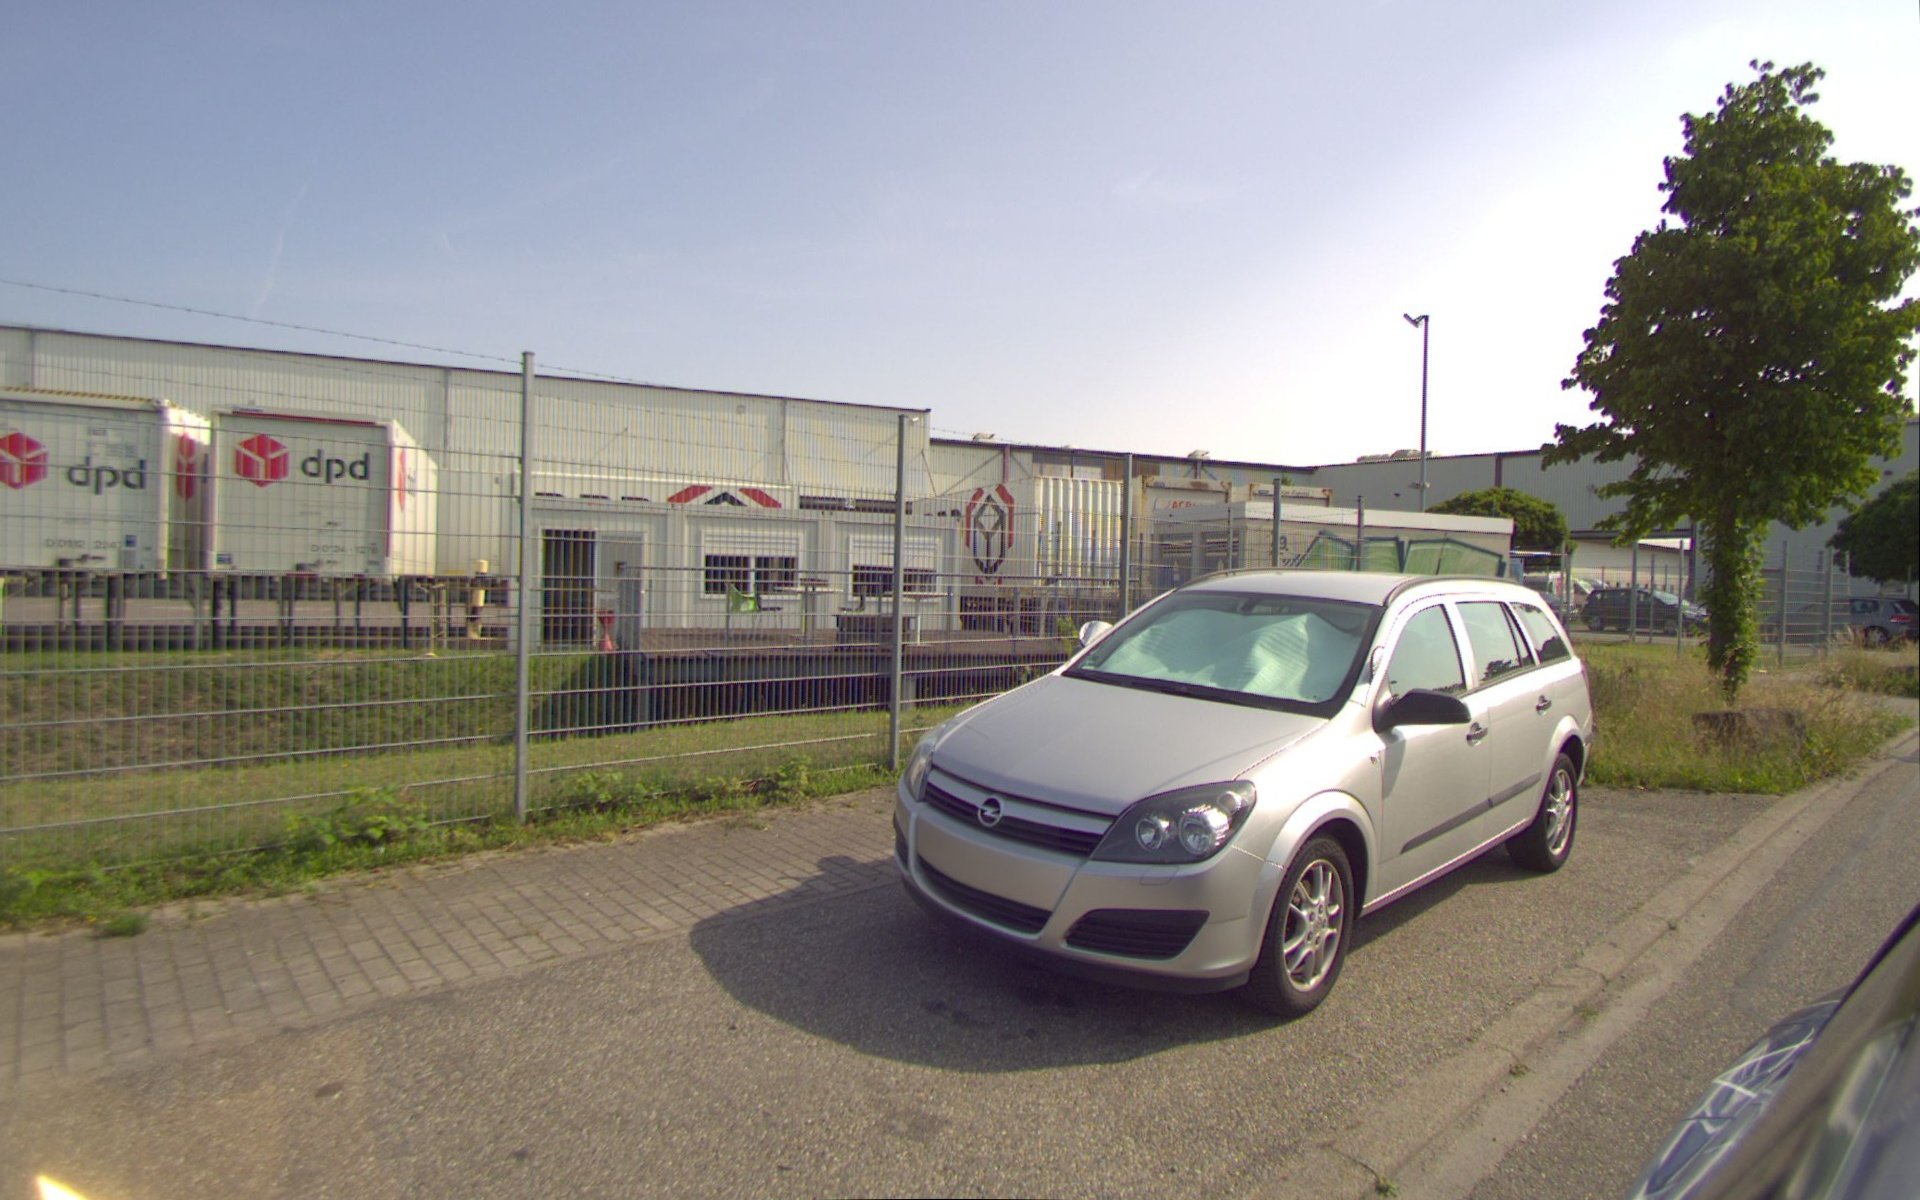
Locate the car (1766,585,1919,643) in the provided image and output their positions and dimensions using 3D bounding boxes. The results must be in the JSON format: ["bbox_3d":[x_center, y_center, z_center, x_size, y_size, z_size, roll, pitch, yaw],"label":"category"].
[{"bbox_3d":[27.133,0.374,30.644,1.692,1.542,3.969,-2,2,-23],"label":"car"}]

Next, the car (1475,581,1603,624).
[{"bbox_3d":[23.225,0.048,40.794,1.692,1.536,4.502,-2,2,-19],"label":"car"}]

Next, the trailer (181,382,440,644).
[{"bbox_3d":[-12.106,-1.278,19.765,2.717,3.943,8.579,2,-1,-23],"label":"trailer"}]

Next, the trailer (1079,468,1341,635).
[{"bbox_3d":[6.560,-1.288,28.368,2.718,3.941,8.583,-1,2,-21],"label":"trailer"}]

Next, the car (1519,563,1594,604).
[{"bbox_3d":[39.239,-1.101,66.518,6.583,2.548,2.172,-1,2,-41],"label":"car"}]

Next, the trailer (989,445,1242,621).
[{"bbox_3d":[3.758,-1.673,27.345,2.717,3.941,8.584,1,2,-21],"label":"trailer"}]

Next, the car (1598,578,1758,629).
[{"bbox_3d":[24.992,0.139,35.416,1.838,1.646,4.276,2,-1,-21],"label":"car"}]

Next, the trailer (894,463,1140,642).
[{"bbox_3d":[1.031,-1.072,26.056,2.732,3.808,8.778,1,1,-23],"label":"trailer"}]

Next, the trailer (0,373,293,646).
[{"bbox_3d":[-15.021,-1.281,18.857,2.717,3.943,8.579,2,-1,-23],"label":"trailer"}]

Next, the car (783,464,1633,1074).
[{"bbox_3d":[1.527,0.413,4.870,4.373,1.645,1.802,0,3,-43],"label":"car"}]

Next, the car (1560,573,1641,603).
[{"bbox_3d":[49.352,-0.948,78.066,1.896,2.110,4.847,0,2,-37],"label":"car"}]

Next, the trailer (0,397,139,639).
[{"bbox_3d":[-17.765,-1.354,17.878,2.717,3.943,8.349,2,-1,-23],"label":"trailer"}]
